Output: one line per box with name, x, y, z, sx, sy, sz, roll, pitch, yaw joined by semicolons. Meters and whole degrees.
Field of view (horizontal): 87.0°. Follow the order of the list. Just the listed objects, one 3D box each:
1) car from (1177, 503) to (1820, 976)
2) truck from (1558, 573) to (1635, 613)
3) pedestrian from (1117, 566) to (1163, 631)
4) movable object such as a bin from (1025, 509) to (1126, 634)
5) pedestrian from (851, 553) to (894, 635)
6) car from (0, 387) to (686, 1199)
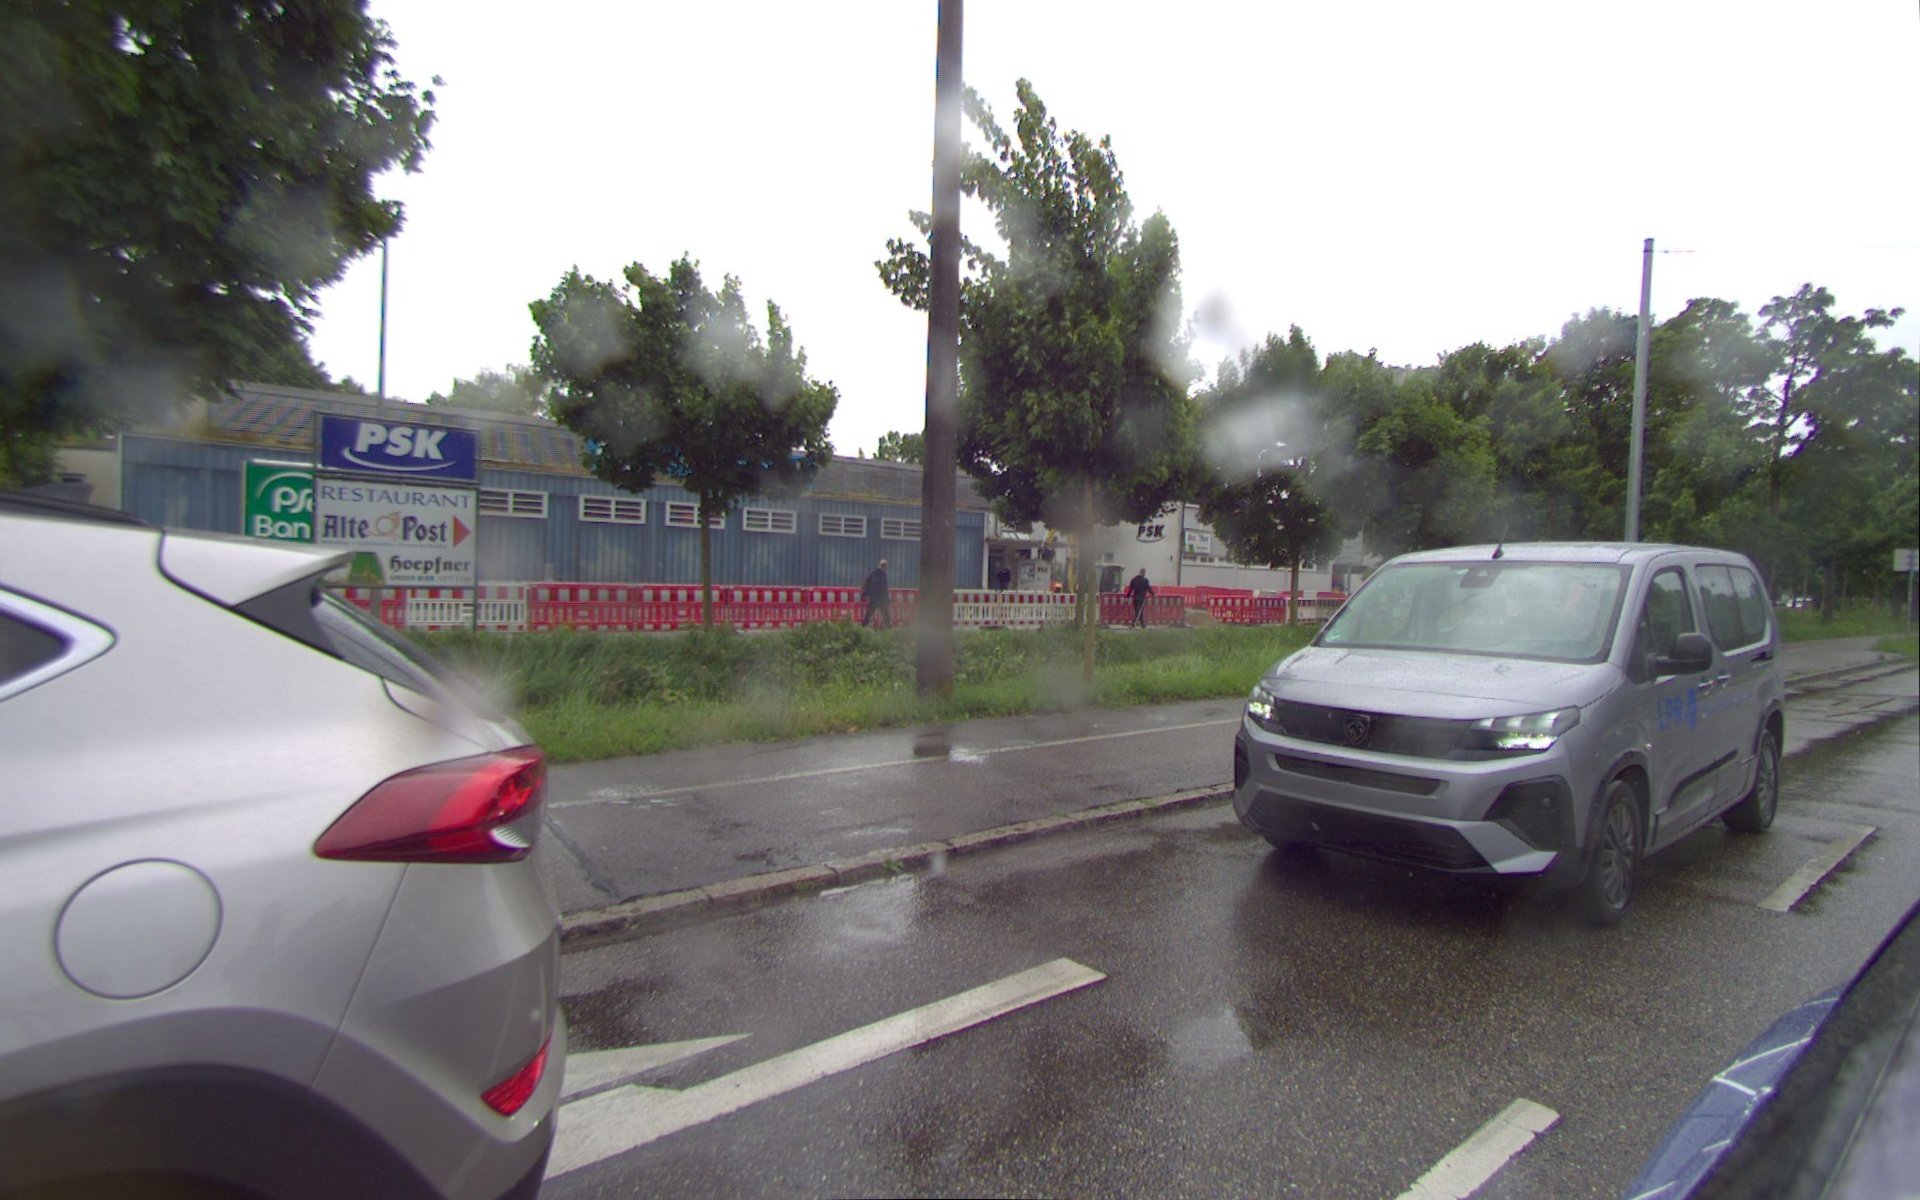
car;3.497;0.517;6.137;4.483;1.818;1.997;0;1;-41
truck;49.805;-0.569;79.051;8.599;2.935;2.808;-1;0;-42
pedestrian;5.473;-0.052;30.780;1.192;1.960;0.814;0;0;-42
movable object such as a bin;4.392;-1.031;38.077;3.839;4.482;1.557;0;0;-39
pedestrian;-2.112;-0.147;24.471;0.861;1.920;0.580;0;0;-41
car;-2.621;0.584;1.056;4.122;1.630;1.888;-1;1;-40
